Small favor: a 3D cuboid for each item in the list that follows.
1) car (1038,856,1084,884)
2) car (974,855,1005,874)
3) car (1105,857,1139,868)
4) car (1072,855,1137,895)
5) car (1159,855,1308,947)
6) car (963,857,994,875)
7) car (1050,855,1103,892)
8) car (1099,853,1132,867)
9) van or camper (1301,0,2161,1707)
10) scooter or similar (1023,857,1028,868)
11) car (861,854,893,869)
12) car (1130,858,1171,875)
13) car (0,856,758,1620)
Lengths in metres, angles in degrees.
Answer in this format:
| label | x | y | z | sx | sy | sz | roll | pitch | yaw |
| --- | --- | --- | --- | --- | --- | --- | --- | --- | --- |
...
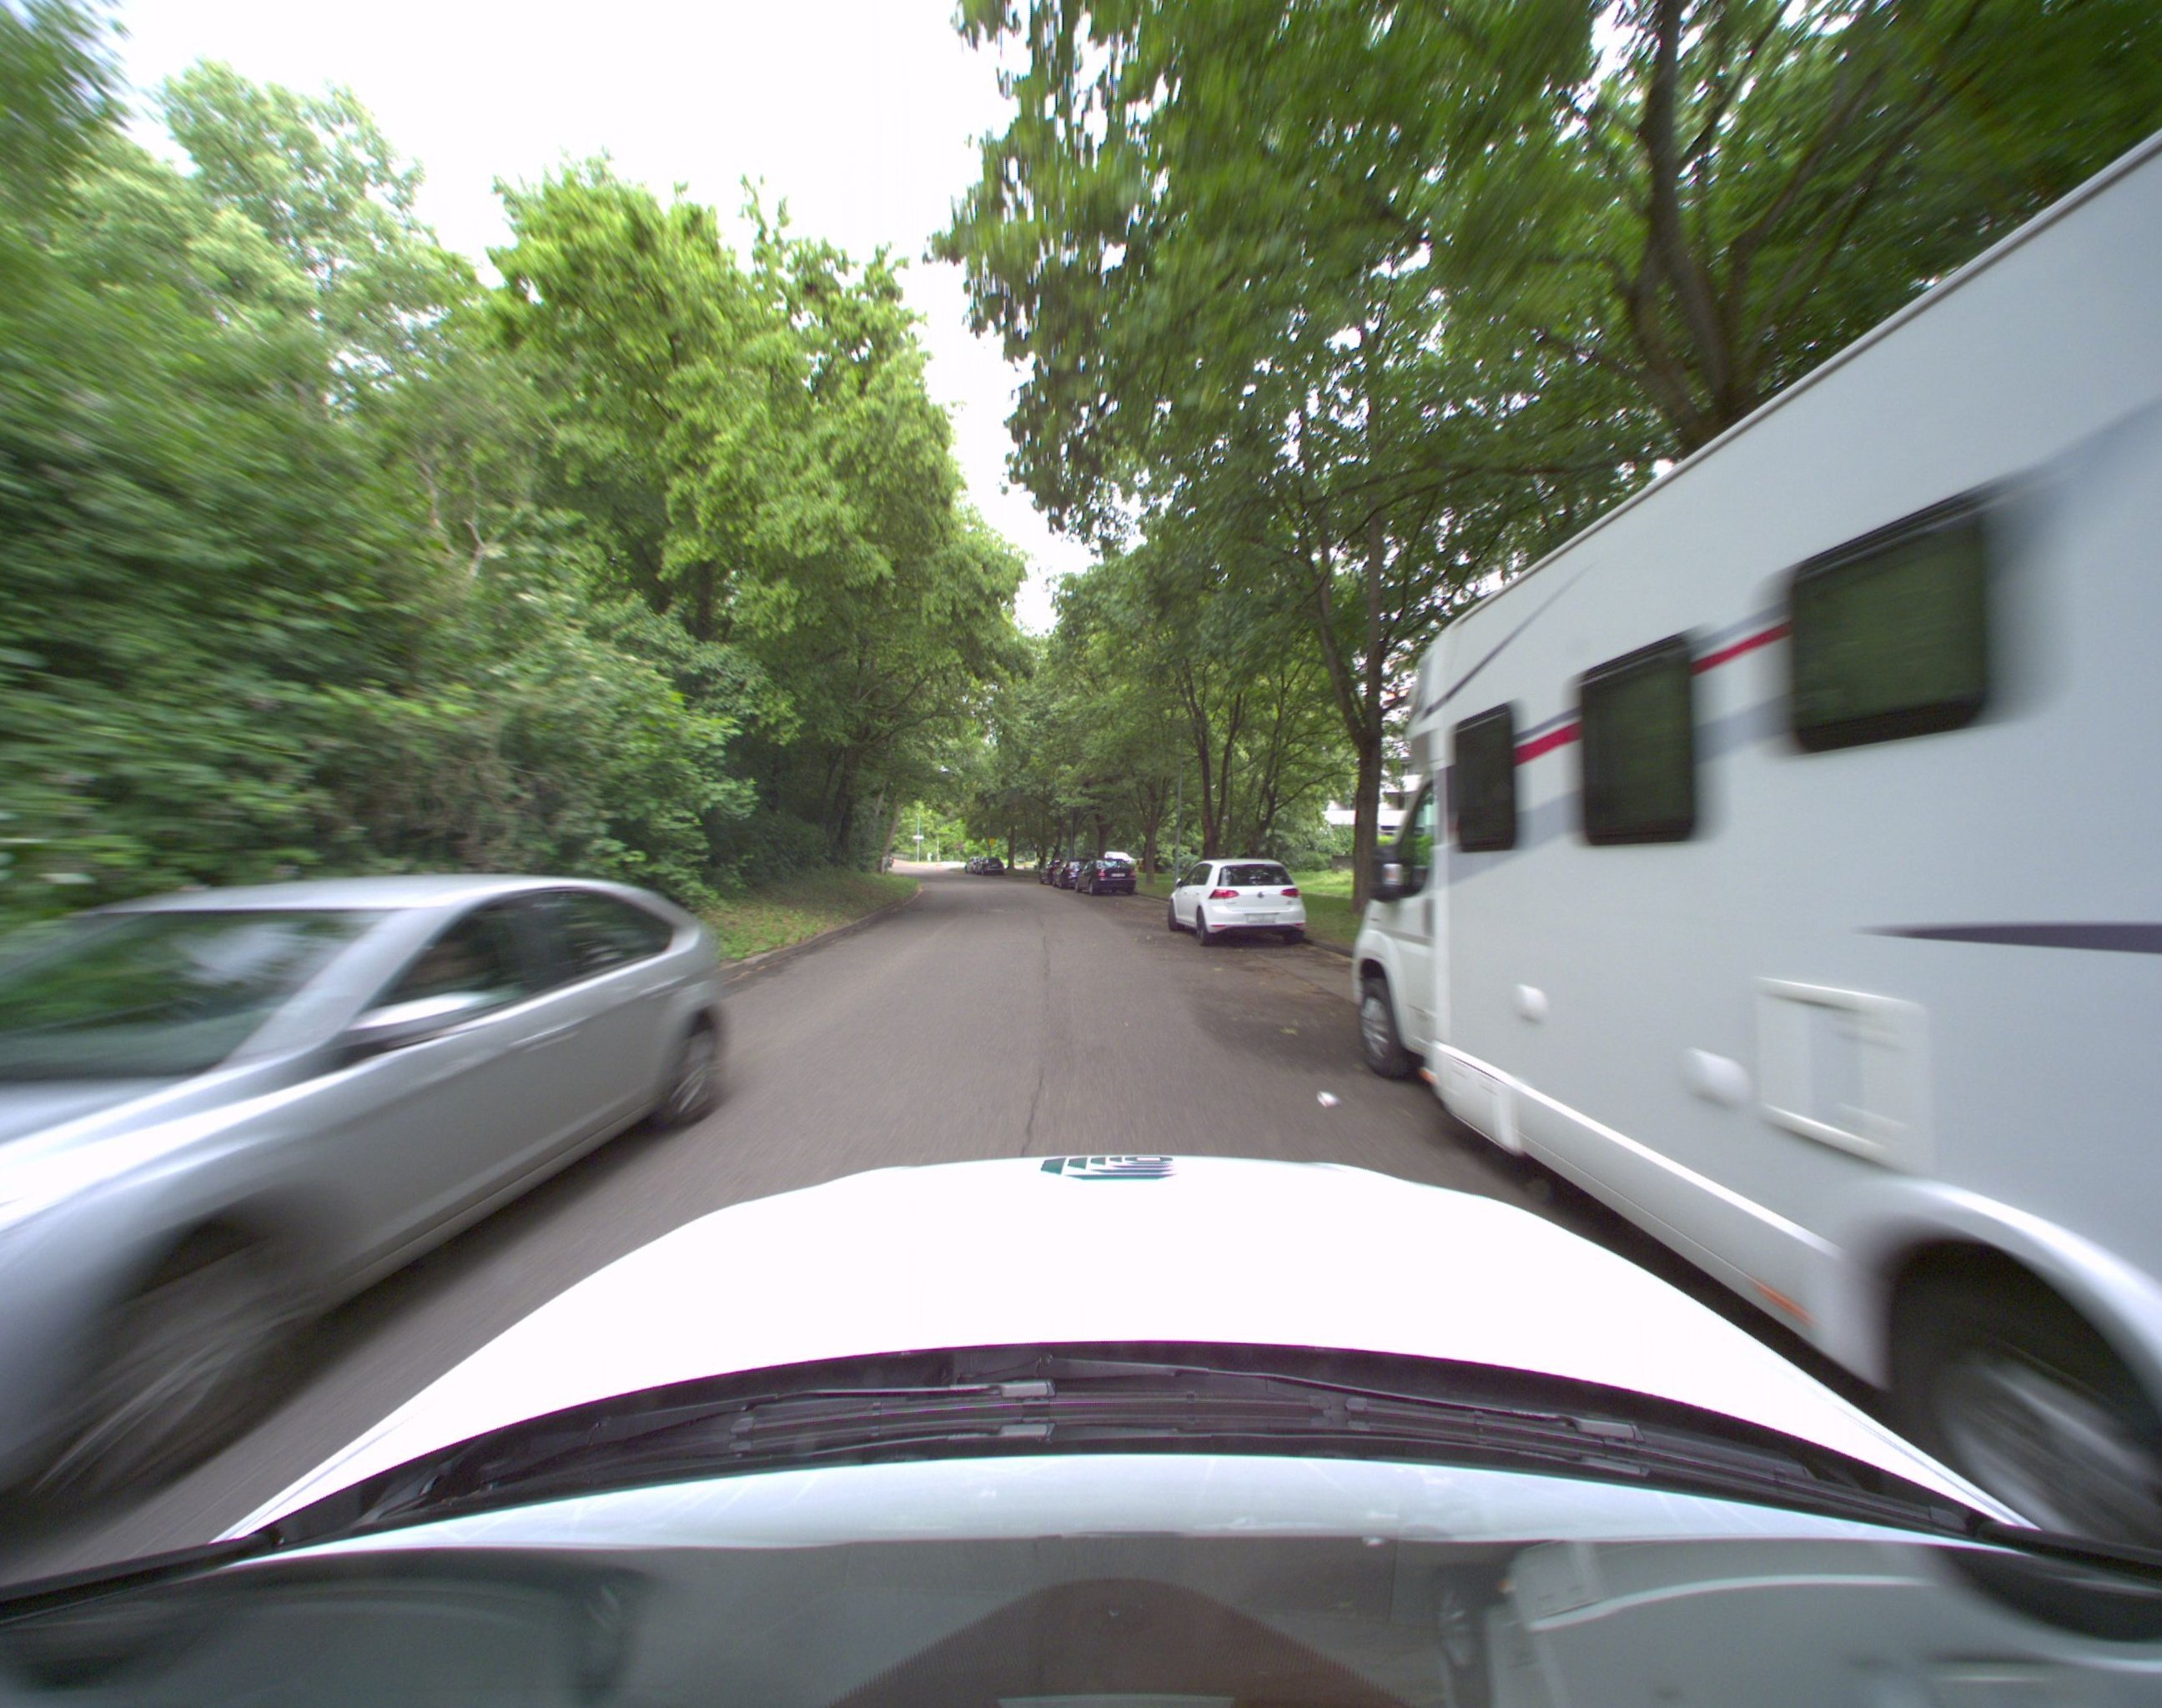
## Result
| label | x | y | z | sx | sy | sz | roll | pitch | yaw |
| --- | --- | --- | --- | --- | --- | --- | --- | --- | --- |
| car | -1.128 | 0.824 | 43.551 | 1.684 | 1.464 | 3.880 | 0 | 0 | -13 |
| car | -7.724 | 0.892 | 68.459 | 1.778 | 1.522 | 4.158 | 0 | 0 | -17 |
| car | 5.553 | 1.166 | 110.084 | 4.213 | 1.499 | 1.791 | 0 | 0 | -15 |
| car | 0.867 | 0.778 | 32.135 | 1.590 | 1.465 | 4.298 | 0 | 0 | -12 |
| car | 2.670 | 0.761 | 15.225 | 1.686 | 1.482 | 4.099 | 0 | 0 | -5 |
| car | -9.168 | 1.062 | 72.603 | 1.781 | 1.522 | 3.752 | 0 | 0 | -23 |
| car | -0.262 | 0.882 | 38.352 | 1.912 | 1.612 | 4.721 | 0 | 0 | -8 |
| car | 4.796 | 0.849 | 112.983 | 4.213 | 2.013 | 1.990 | 0 | 0 | -15 |
| van or camper | 2.948 | -0.049 | 3.051 | 2.416 | 2.979 | 7.395 | 0 | 0 | 1 |
| scooter or similar | -6.200 | 0.946 | 90.791 | 0.283 | 1.287 | 1.101 | 1 | 0 | -17 |
| car | -23.689 | 0.838 | 94.310 | 1.809 | 1.685 | 4.184 | 0 | 0 | -43 |
| car | 8.099 | 1.490 | 95.007 | 4.398 | 1.848 | 1.825 | 1 | 0 | -11 |
| car | -3.040 | 0.787 | 3.325 | 1.788 | 1.508 | 4.000 | -1 | 0 | 0 |
